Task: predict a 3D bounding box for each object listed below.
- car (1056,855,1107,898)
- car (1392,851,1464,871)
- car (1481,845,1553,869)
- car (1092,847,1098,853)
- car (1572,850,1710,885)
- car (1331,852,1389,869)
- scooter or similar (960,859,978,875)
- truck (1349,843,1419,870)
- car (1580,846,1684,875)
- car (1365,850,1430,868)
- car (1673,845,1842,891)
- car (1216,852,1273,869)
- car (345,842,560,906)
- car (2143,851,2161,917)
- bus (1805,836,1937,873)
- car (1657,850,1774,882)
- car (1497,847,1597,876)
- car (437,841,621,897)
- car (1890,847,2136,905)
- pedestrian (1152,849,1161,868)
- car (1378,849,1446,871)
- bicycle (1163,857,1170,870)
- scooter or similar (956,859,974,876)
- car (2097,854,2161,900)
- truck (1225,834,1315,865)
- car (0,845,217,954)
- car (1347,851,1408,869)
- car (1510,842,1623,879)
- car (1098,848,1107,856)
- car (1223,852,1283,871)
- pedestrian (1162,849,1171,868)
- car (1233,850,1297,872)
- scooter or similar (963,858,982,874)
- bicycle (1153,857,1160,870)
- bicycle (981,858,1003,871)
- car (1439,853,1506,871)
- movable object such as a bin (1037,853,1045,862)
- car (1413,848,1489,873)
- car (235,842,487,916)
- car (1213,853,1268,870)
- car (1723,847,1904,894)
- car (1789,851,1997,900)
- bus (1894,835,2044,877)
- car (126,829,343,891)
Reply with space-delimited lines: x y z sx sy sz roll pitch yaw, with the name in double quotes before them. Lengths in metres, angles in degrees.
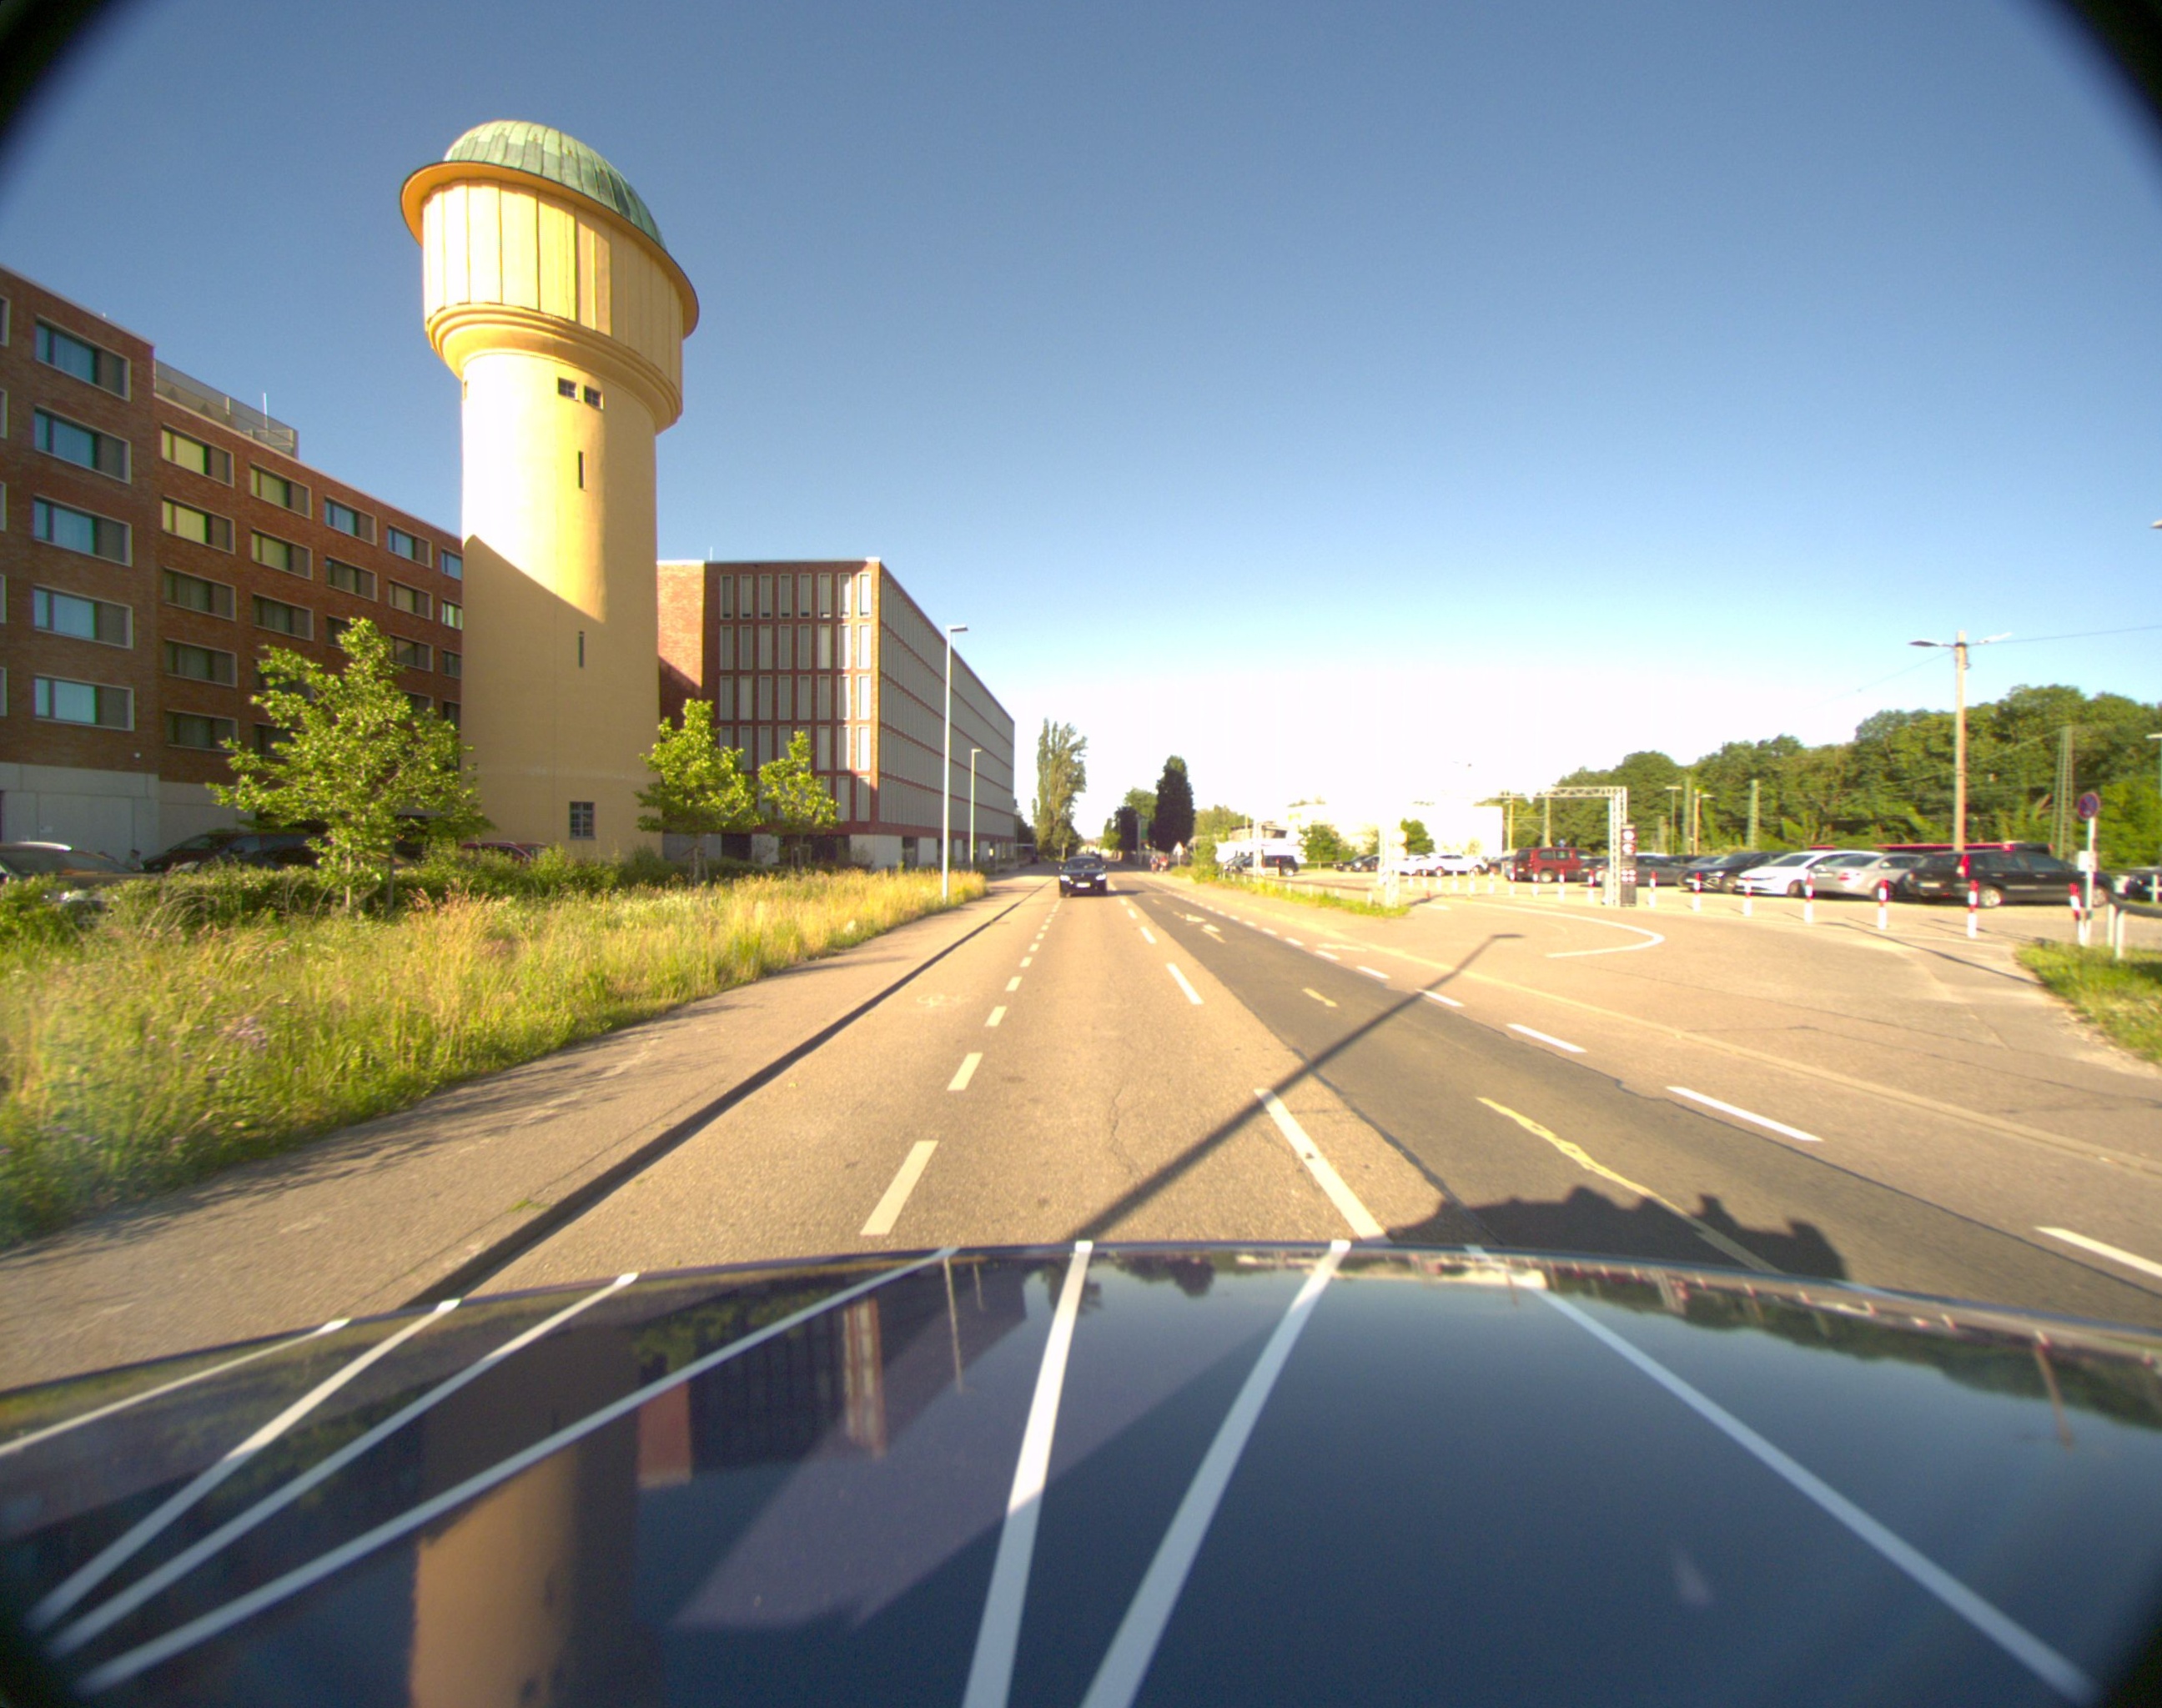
"car" 0.039 0.911 32.640 1.998 1.608 3.999 -3 1 1
"car" 24.466 0.483 53.675 4.172 1.389 2.048 0 1 -3
"car" 30.411 0.204 53.089 3.998 1.540 1.913 -1 0 -2
"car" 4.291 -1.187 229.329 1.745 1.517 4.111 4 0 0
"car" 24.839 0.578 33.827 4.586 1.472 1.991 -1 0 4
"car" 24.613 0.526 67.117 4.414 1.457 2.048 0 1 -3
"scooter or similar" -8.398 0.953 57.045 1.245 1.149 0.366 1 1 5
"truck" 31.971 0.217 80.363 6.512 2.791 2.315 0 1 -1
"car" 30.327 0.343 41.898 4.377 1.536 1.857 -1 0 1
"car" 24.607 0.369 59.158 4.172 1.389 2.048 0 1 -3
"car" 24.991 0.508 28.188 4.587 1.576 1.857 -1 0 1
"car" 13.633 0.536 63.540 4.439 1.453 2.048 0 1 2
"car" -16.437 0.502 20.006 4.193 1.571 1.852 -1 0 4
"car" 25.091 0.612 15.465 4.333 1.411 1.878 -1 0 0
"bus" 53.198 0.028 51.426 2.545 2.334 6.205 0 0 2
"car" 29.944 0.542 35.951 3.997 1.457 1.894 0 0 -1
"car" 25.523 0.408 41.725 4.377 1.536 1.857 -1 0 1
"car" -16.352 0.444 22.655 4.193 1.571 1.852 -1 0 4
"car" 25.210 0.580 20.685 4.332 1.454 1.878 -1 0 1
"pedestrian" 6.916 0.382 69.654 0.722 1.711 1.057 0 1 1
"car" 24.399 0.432 56.118 4.172 1.569 2.048 0 1 -3
"bicycle" 7.752 0.854 68.859 0.471 1.142 1.869 -1 1 0
"scooter or similar" -8.513 0.987 55.534 1.245 1.188 0.340 1 1 5
"car" 29.921 0.589 19.965 3.892 1.181 1.878 -1 0 1
"truck" 22.777 -0.580 91.764 10.124 3.594 2.775 -1 2 0
"car" -16.693 0.679 11.985 4.193 1.571 1.852 -1 0 4
"car" 25.097 0.475 64.381 4.414 1.457 2.048 0 1 -3
"car" 24.881 0.318 39.050 4.587 1.794 1.857 -1 0 1
"car" 4.138 -0.358 147.005 1.658 1.495 3.999 1 1 1
"car" 13.761 0.590 60.950 4.439 1.453 2.048 0 1 2
"pedestrian" 7.775 0.419 68.835 0.722 1.711 1.057 0 1 1
"car" 14.003 0.498 57.972 4.439 1.660 2.048 0 1 2
"scooter or similar" -8.351 0.919 58.510 1.343 1.238 0.424 1 1 5
"bicycle" 6.894 0.835 69.475 0.447 1.142 2.201 -1 1 0
"bicycle" -8.228 0.933 70.327 1.937 1.163 0.375 1 1 -6
"car" 30.407 0.590 59.155 4.172 1.389 2.048 0 1 -3
"movable object such as a bin" -5.899 0.549 111.076 1.131 1.328 1.345 0 1 0
"car" 24.904 0.436 51.177 4.172 1.652 1.966 0 1 -2
"car" -16.488 0.556 17.537 4.193 1.571 1.852 -1 0 4
"car" 13.970 0.681 66.780 4.439 1.453 2.048 0 1 2
"car" 24.910 0.541 25.967 4.332 1.514 1.878 -1 0 1
"car" 24.704 0.639 23.243 4.332 1.385 1.878 -1 0 1
"bus" 52.963 0.084 45.561 2.545 2.334 5.589 0 0 2
"car" -28.811 0.174 26.157 1.976 1.924 4.794 -1 0 2
